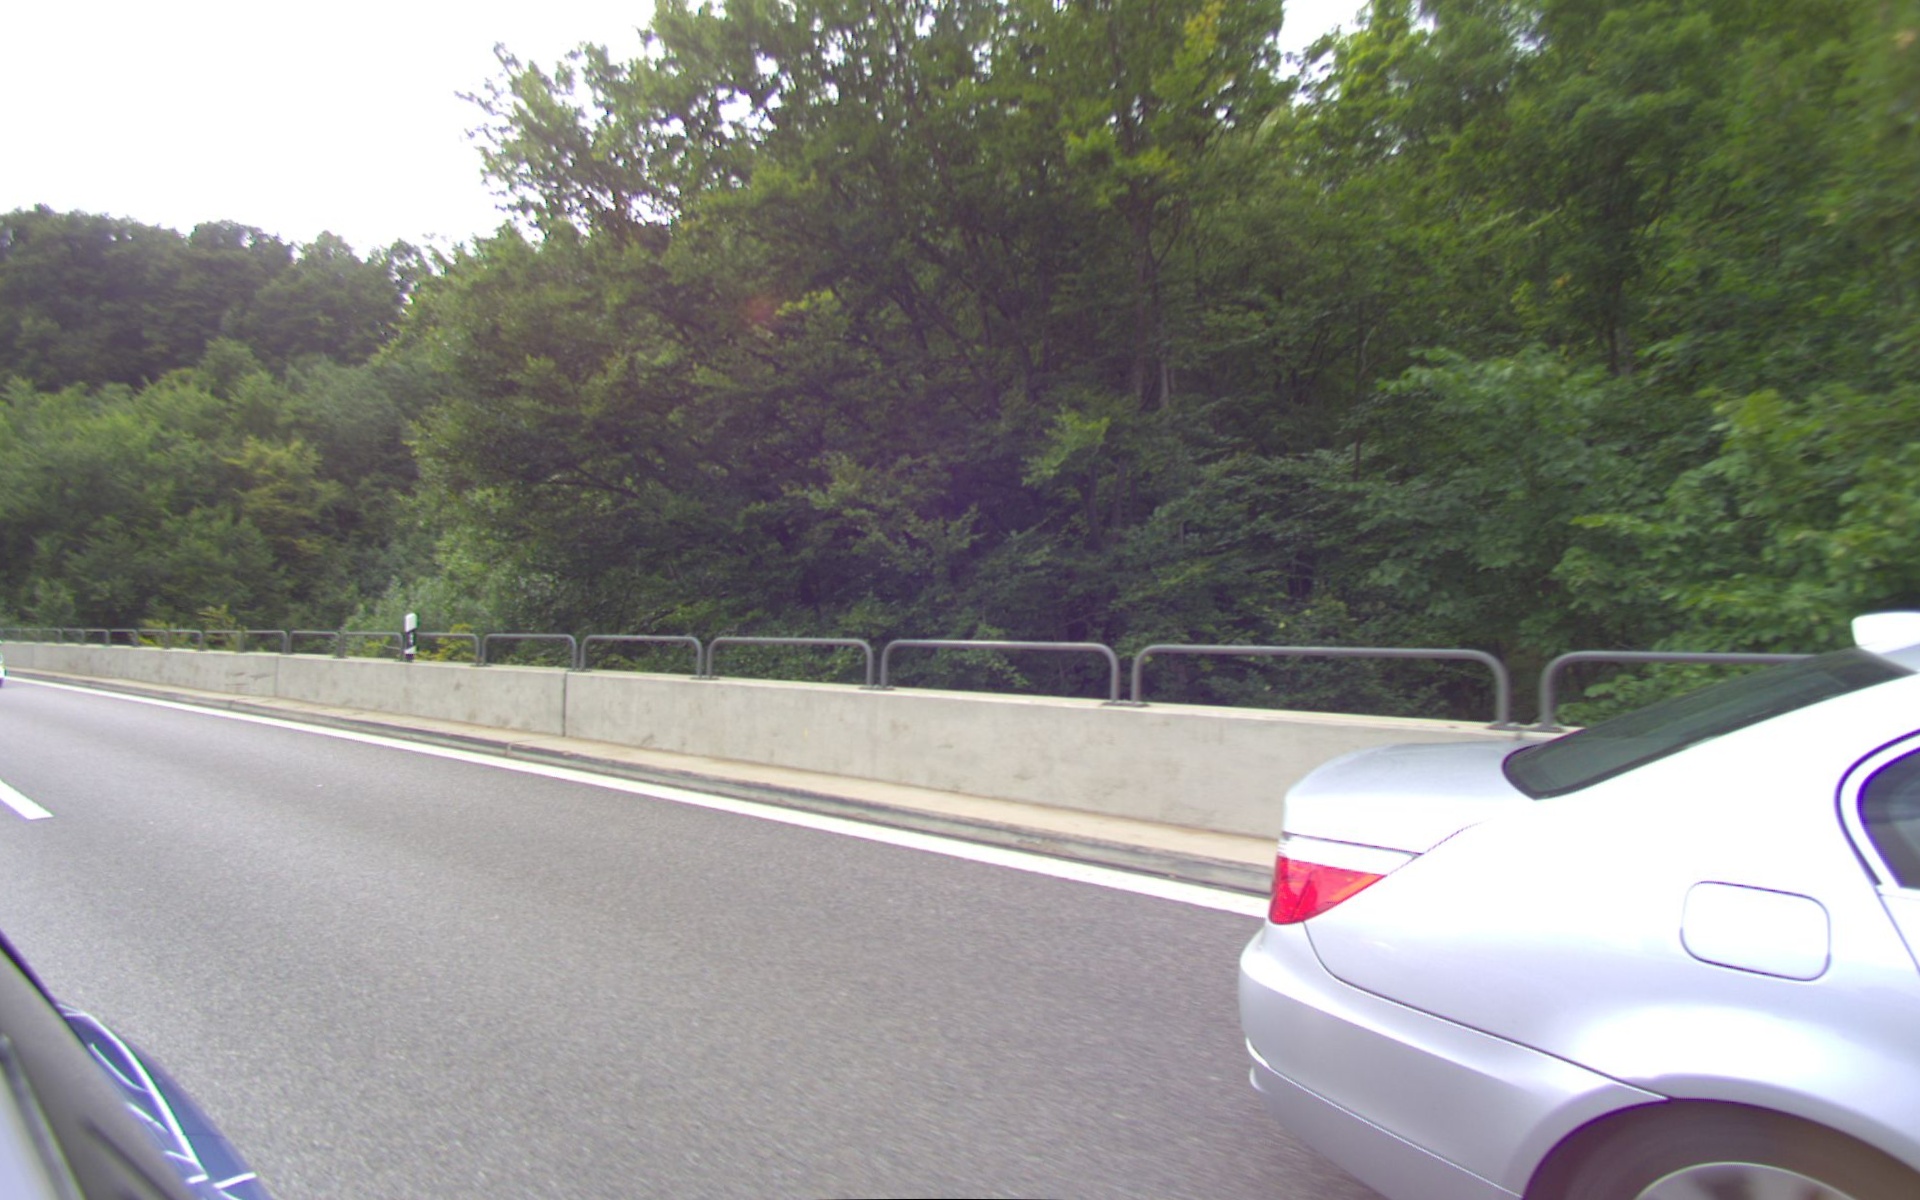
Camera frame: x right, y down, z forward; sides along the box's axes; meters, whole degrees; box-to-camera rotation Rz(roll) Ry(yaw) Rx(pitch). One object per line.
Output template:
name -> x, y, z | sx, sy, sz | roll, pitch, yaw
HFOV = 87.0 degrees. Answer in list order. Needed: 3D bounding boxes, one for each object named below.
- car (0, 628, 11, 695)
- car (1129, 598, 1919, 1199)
car -> -23.472, 1.399, 23.201 | 4.225, 1.472, 1.899 | -1, -1, 38
car -> 2.913, 0.716, 1.283 | 5.131, 1.468, 1.809 | -1, -1, 40
